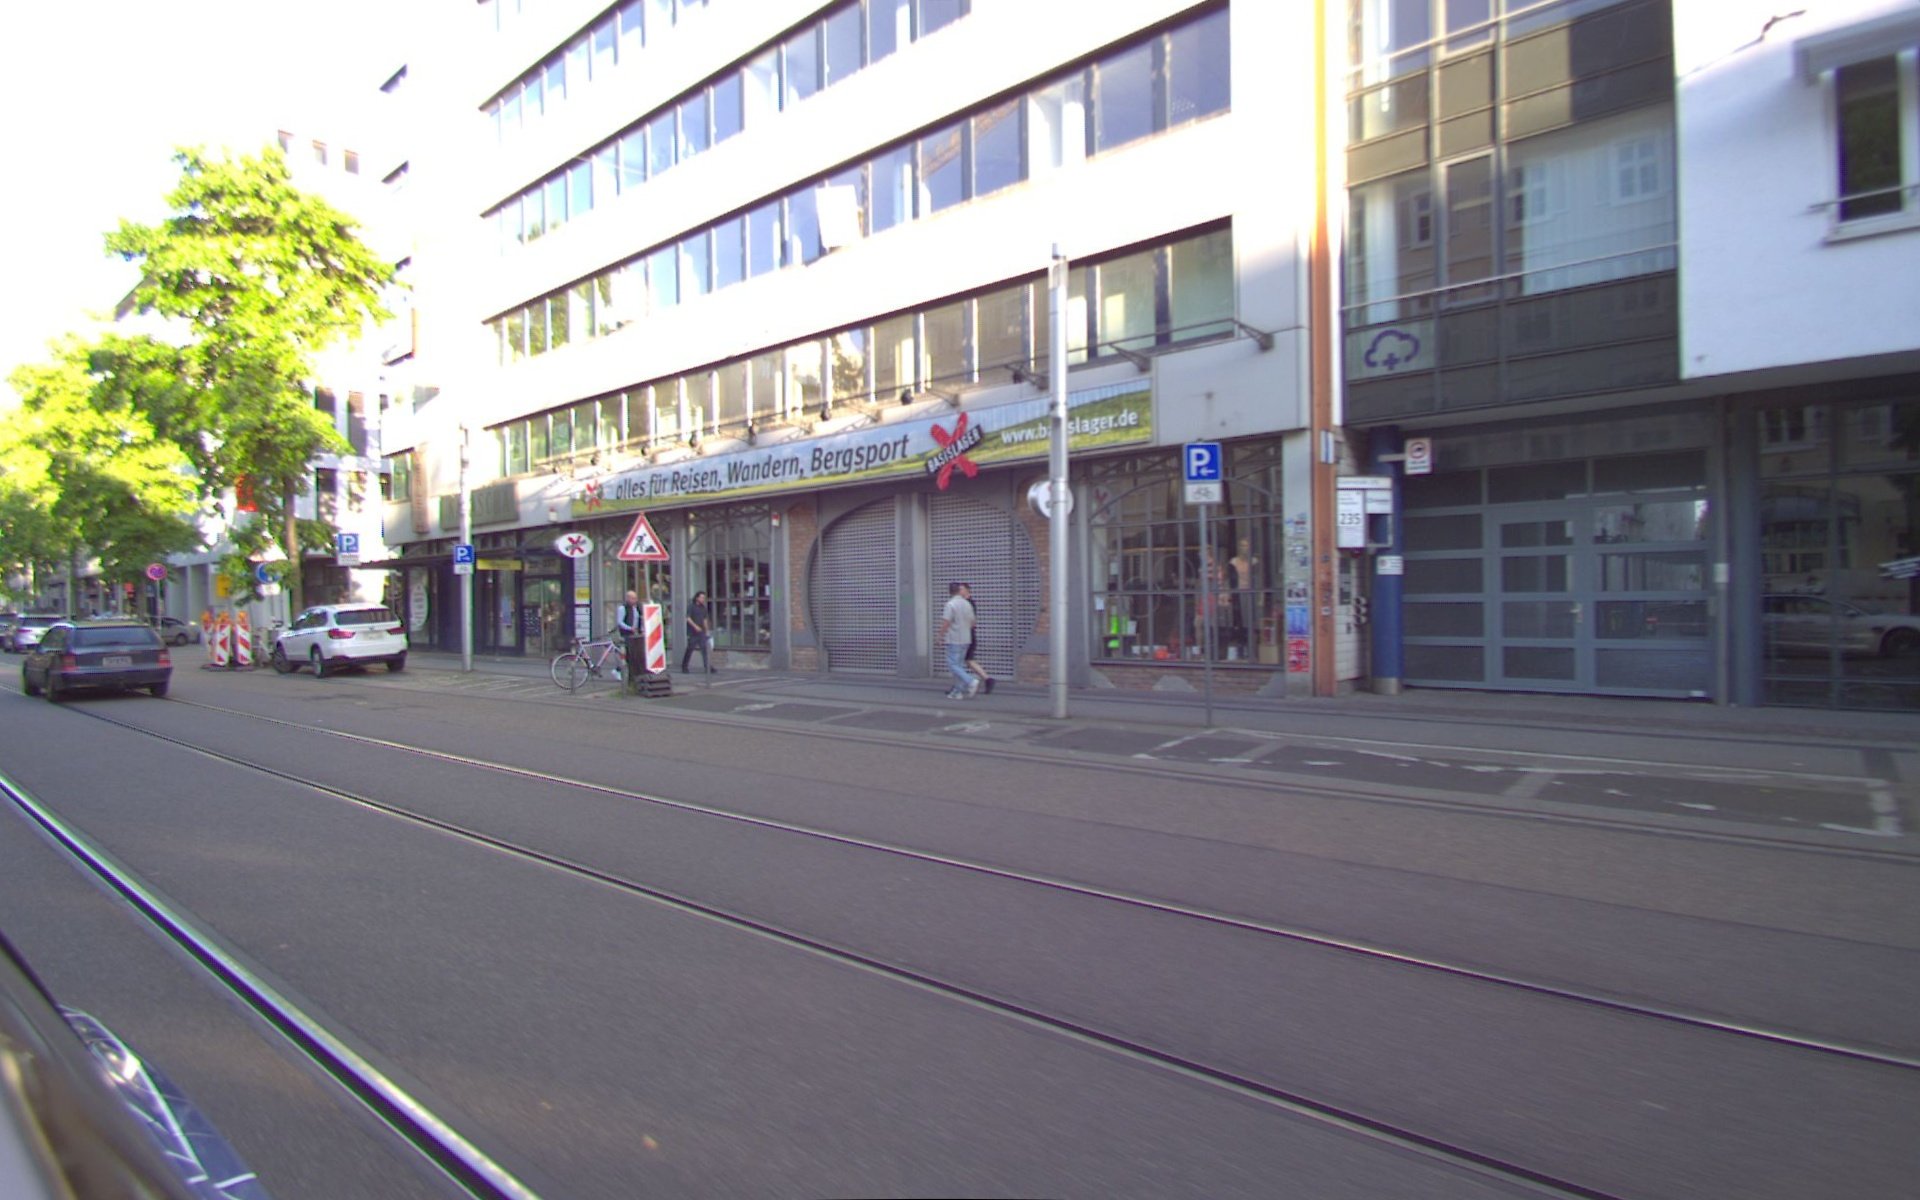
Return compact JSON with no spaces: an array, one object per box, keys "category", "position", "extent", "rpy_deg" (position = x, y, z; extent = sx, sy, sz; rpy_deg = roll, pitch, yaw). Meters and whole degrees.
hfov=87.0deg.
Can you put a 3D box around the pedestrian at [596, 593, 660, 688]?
[{"category":"pedestrian","position":[-6.428,0.768,19.613],"extent":[0.831,1.779,0.842],"rpy_deg":[-2,-1,38]}]

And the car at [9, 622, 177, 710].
[{"category":"car","position":[-16.241,1.135,18.873],"extent":[4.525,1.418,1.760],"rpy_deg":[-1,-1,41]}]

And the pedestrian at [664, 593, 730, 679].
[{"category":"pedestrian","position":[-5.523,0.734,21.234],"extent":[1.037,1.708,0.824],"rpy_deg":[-1,2,41]}]

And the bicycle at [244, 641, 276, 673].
[{"category":"bicycle","position":[-20.325,1.642,29.374],"extent":[0.496,0.843,1.536],"rpy_deg":[-4,2,-43]}]

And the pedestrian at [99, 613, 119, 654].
[{"category":"pedestrian","position":[-40.194,1.577,47.809],"extent":[0.723,1.948,0.647],"rpy_deg":[-2,-1,43]}]

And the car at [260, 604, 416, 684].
[{"category":"car","position":[-15.927,1.067,25.823],"extent":[4.741,1.767,1.973],"rpy_deg":[-2,1,40]}]

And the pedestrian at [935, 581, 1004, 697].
[{"category":"pedestrian","position":[0.144,0.579,15.607],"extent":[0.808,1.725,0.620],"rpy_deg":[-1,1,44]}]

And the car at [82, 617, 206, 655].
[{"category":"car","position":[-38.051,1.663,47.330],"extent":[1.567,1.423,4.287],"rpy_deg":[-1,2,22]}]

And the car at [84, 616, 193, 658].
[{"category":"car","position":[-36.404,1.595,44.961],"extent":[1.770,1.572,3.390],"rpy_deg":[-1,2,10]}]

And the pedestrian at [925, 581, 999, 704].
[{"category":"pedestrian","position":[0.030,0.595,14.751],"extent":[0.829,1.725,0.634],"rpy_deg":[-1,1,44]}]

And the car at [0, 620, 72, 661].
[{"category":"car","position":[-38.867,1.671,42.441],"extent":[4.198,1.624,1.865],"rpy_deg":[-2,-3,41]}]

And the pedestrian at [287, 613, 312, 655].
[{"category":"pedestrian","position":[-26.657,1.376,40.822],"extent":[0.611,1.658,0.716],"rpy_deg":[-2,-1,42]}]

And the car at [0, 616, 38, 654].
[{"category":"car","position":[-48.117,1.751,50.950],"extent":[4.198,1.820,2.013],"rpy_deg":[-2,-2,41]}]

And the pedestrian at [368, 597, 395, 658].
[{"category":"pedestrian","position":[-19.246,0.910,33.672],"extent":[0.592,2.029,0.608],"rpy_deg":[-2,-1,39]}]

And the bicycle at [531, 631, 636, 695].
[{"category":"bicycle","position":[-6.987,1.158,18.855],"extent":[1.724,0.999,0.479],"rpy_deg":[-5,2,-42]}]
